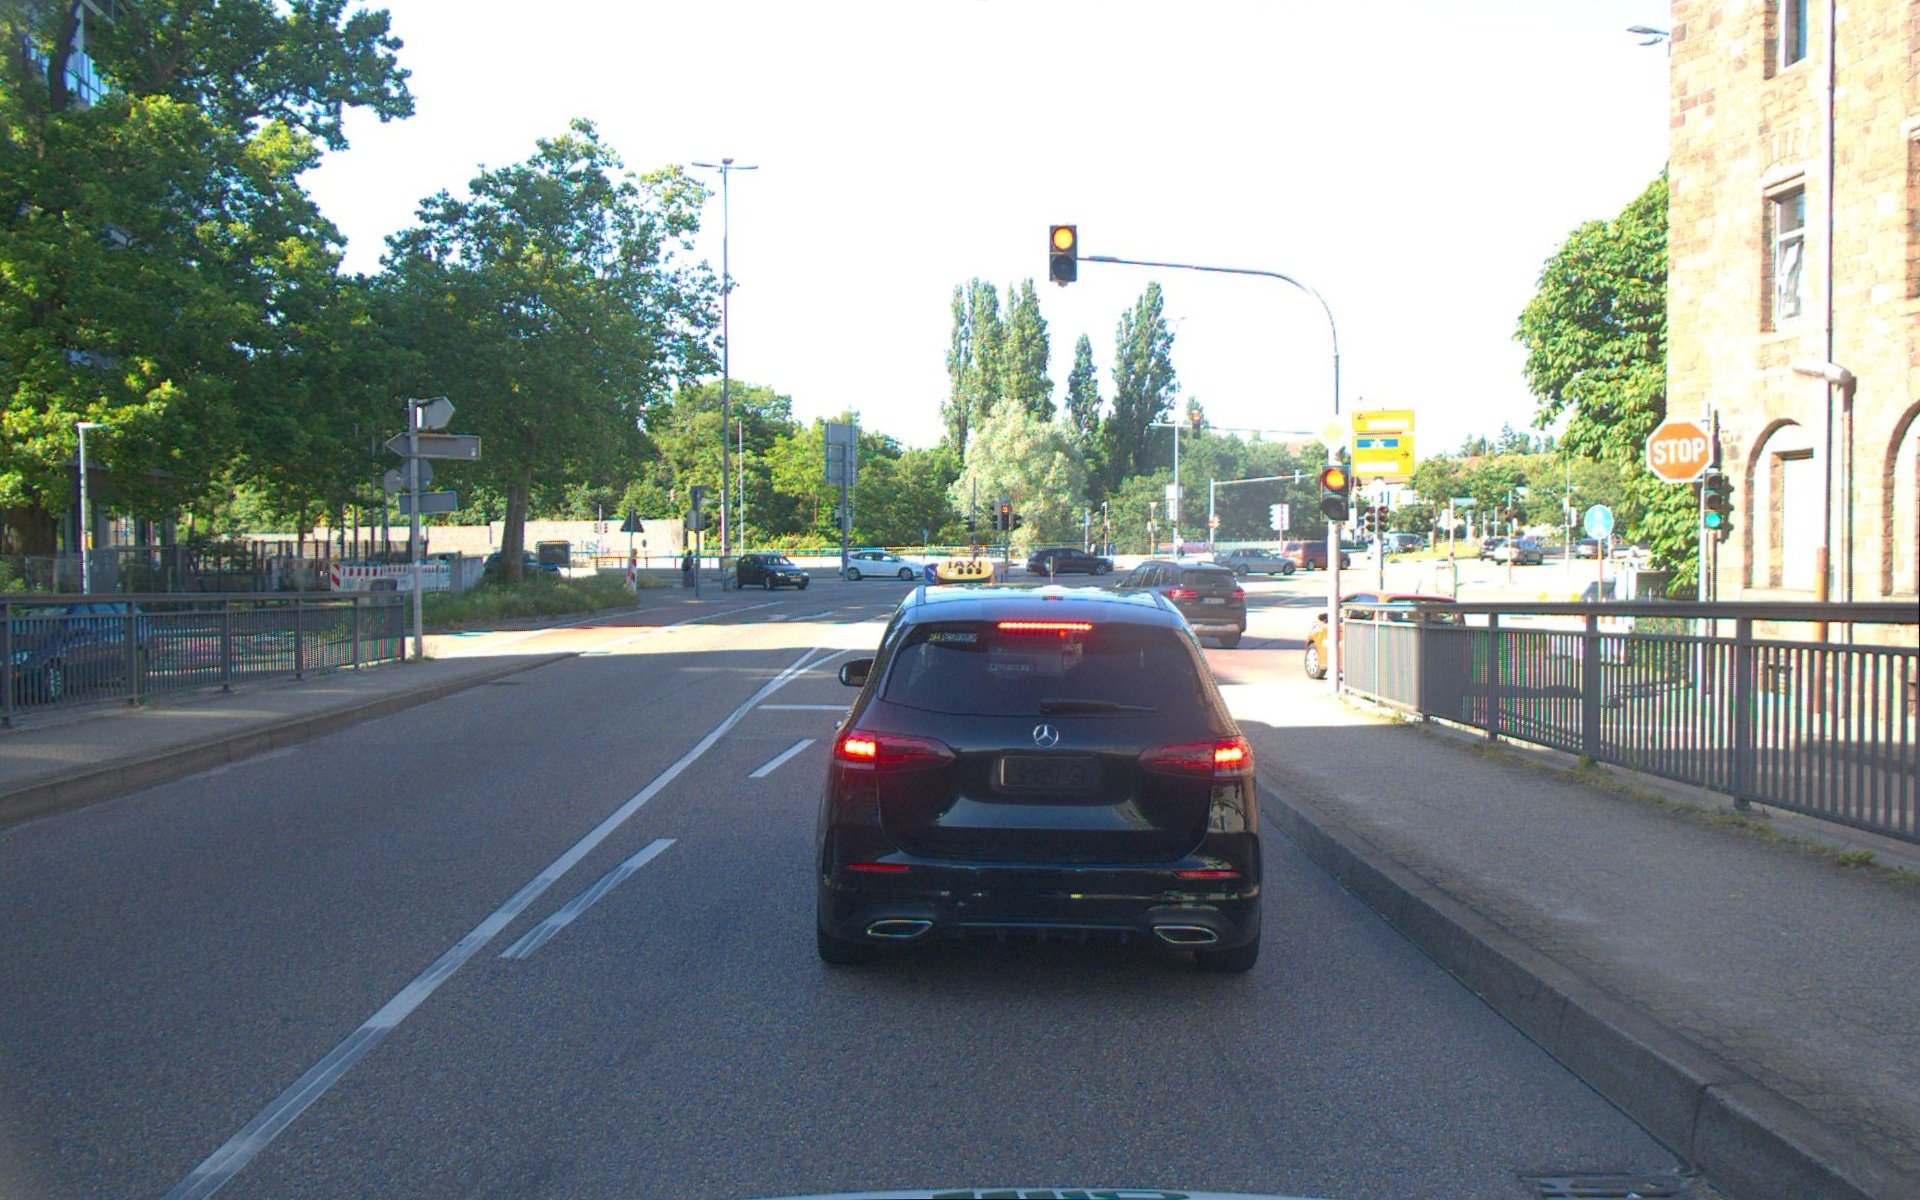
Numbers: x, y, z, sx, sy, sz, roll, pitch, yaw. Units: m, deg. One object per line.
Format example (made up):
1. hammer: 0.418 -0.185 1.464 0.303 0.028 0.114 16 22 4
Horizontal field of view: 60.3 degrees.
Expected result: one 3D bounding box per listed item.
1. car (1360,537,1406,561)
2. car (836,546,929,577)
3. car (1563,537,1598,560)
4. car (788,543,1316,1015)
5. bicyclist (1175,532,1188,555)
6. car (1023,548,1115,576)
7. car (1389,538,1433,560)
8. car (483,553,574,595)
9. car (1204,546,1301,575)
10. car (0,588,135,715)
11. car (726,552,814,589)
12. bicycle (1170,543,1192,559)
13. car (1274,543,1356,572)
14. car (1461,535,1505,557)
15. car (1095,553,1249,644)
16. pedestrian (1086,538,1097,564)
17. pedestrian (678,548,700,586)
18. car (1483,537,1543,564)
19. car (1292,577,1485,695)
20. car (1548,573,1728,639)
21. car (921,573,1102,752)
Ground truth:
1. car: 29.440 -3.538 115.167 1.846 1.605 3.987 1 2 35
2. car: -3.756 -1.878 80.670 4.209 1.389 2.002 -1 3 7
3. car: 43.067 -3.598 114.880 1.951 1.466 4.299 0 3 17
4. car: 0.299 0.609 7.836 1.839 1.641 4.000 1 1 -1
5. bicyclist: 14.948 -3.817 111.801 0.517 1.578 0.804 -1 2 36
6. car: 5.644 -1.998 85.855 4.495 1.317 1.883 -2 3 -9
7. car: 32.843 -3.725 120.376 1.846 1.605 3.987 1 2 35
8. car: -20.508 -1.261 78.633 3.910 1.651 1.809 5 4 25
9. car: 14.744 -2.000 83.342 4.520 1.317 1.985 -2 3 -24
10. car: -14.768 0.728 25.801 1.814 1.722 4.000 0 2 -1
11. car: -7.786 -1.210 67.363 1.729 1.431 4.146 -2 2 -37
12. bicycle: 14.949 -3.306 111.824 0.517 1.068 1.982 -1 2 36
13. car: 19.814 -2.386 92.215 4.498 1.480 1.977 -3 3 -34
14. car: 34.629 -3.588 109.532 1.750 1.381 4.068 0 3 33
15. car: 4.554 -0.053 36.139 1.694 1.843 4.277 1 1 -17
16. pedestrian: 8.424 -3.132 106.021 0.443 1.613 0.499 0 2 40
17. pedestrian: -11.110 -1.361 67.843 0.690 1.552 0.744 1 1 10
18. car: 33.483 -2.988 100.088 1.962 1.466 4.802 1 3 38
19. car: 6.605 0.499 25.860 1.690 1.548 3.480 -1 3 -9
20. car: 17.969 0.136 43.864 4.211 1.631 1.721 0 3 -14
21. car: 0.512 0.539 16.726 1.606 1.556 3.475 -1 2 1
